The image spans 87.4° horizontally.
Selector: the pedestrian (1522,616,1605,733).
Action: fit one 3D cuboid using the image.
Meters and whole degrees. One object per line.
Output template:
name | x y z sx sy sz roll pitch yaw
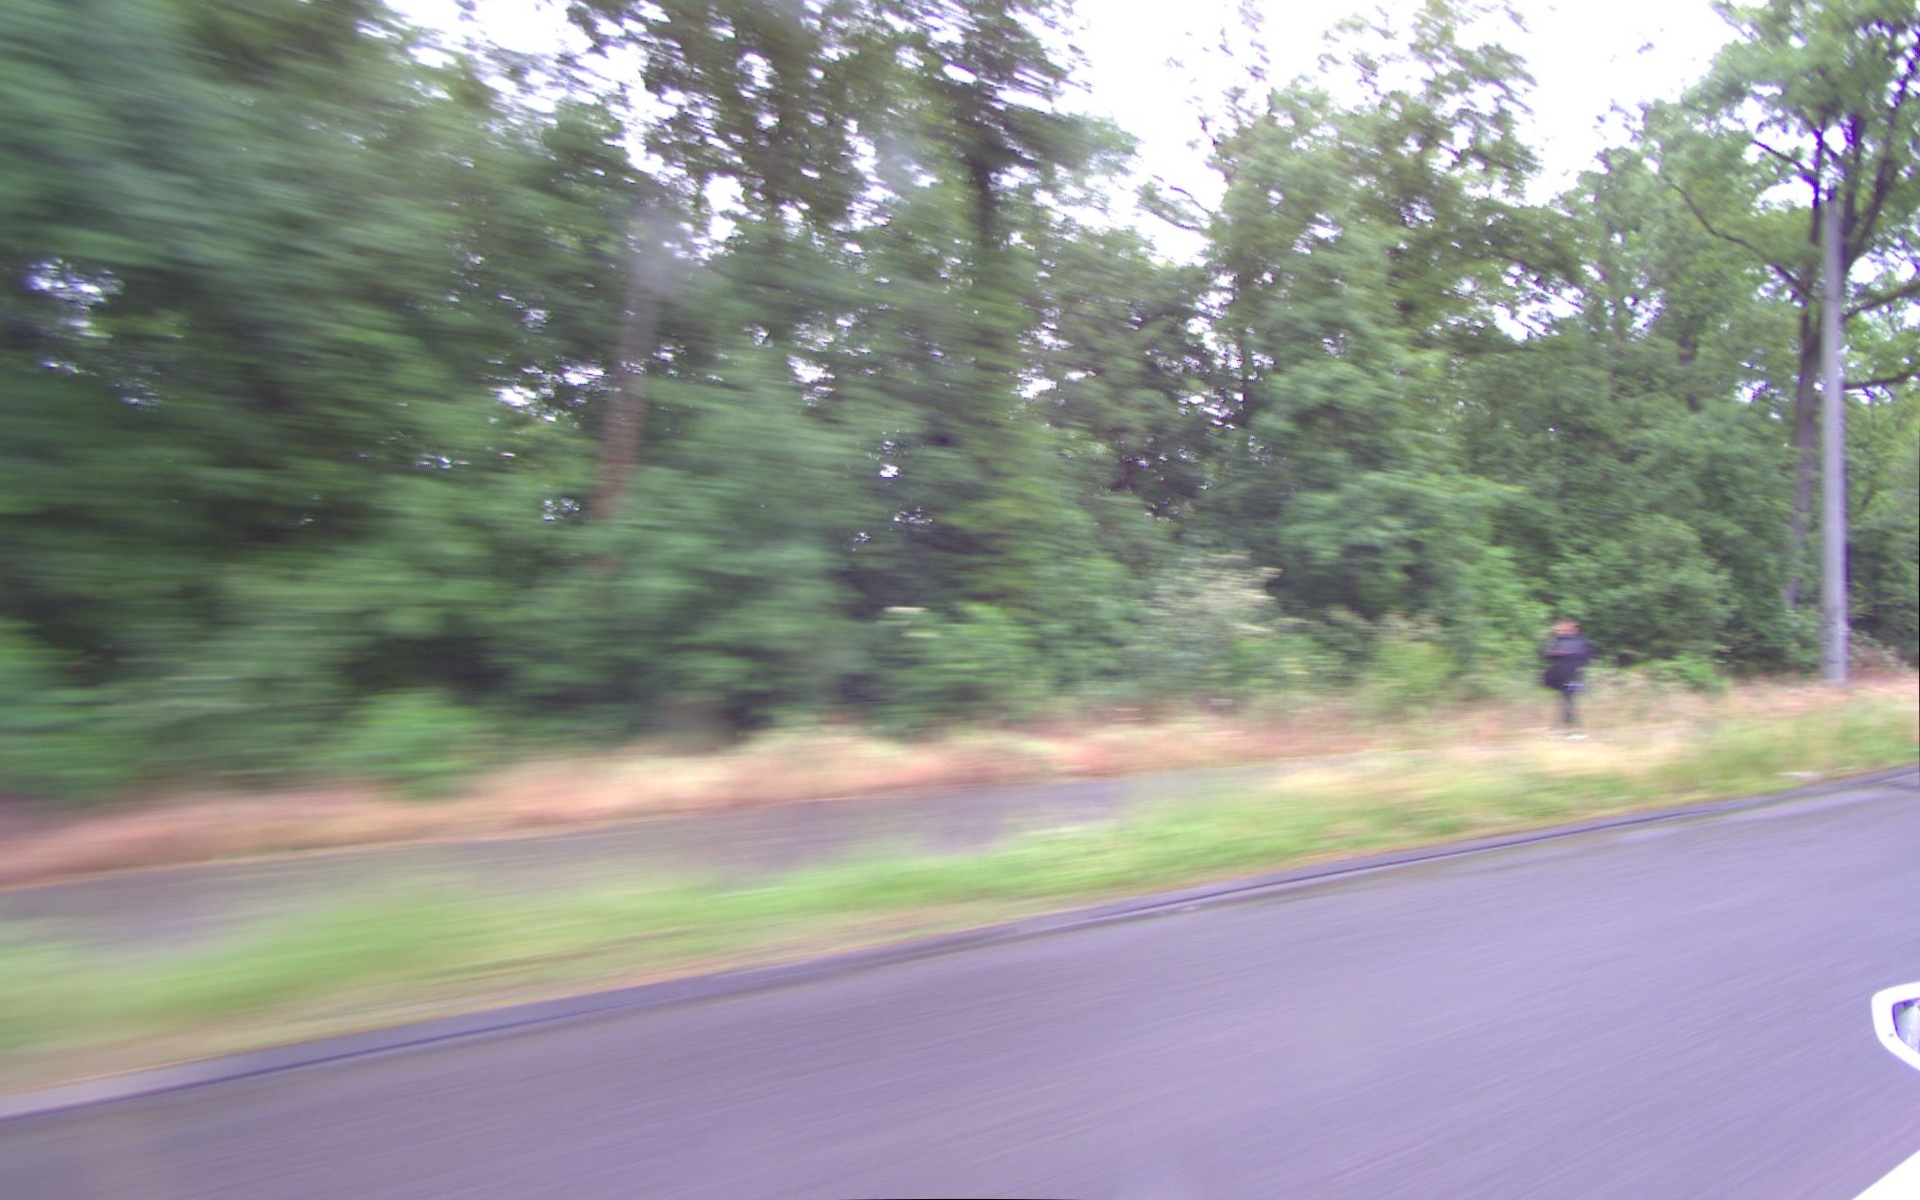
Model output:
pedestrian | 8.750 1.061 14.574 0.724 1.629 0.777 1 -1 -31
